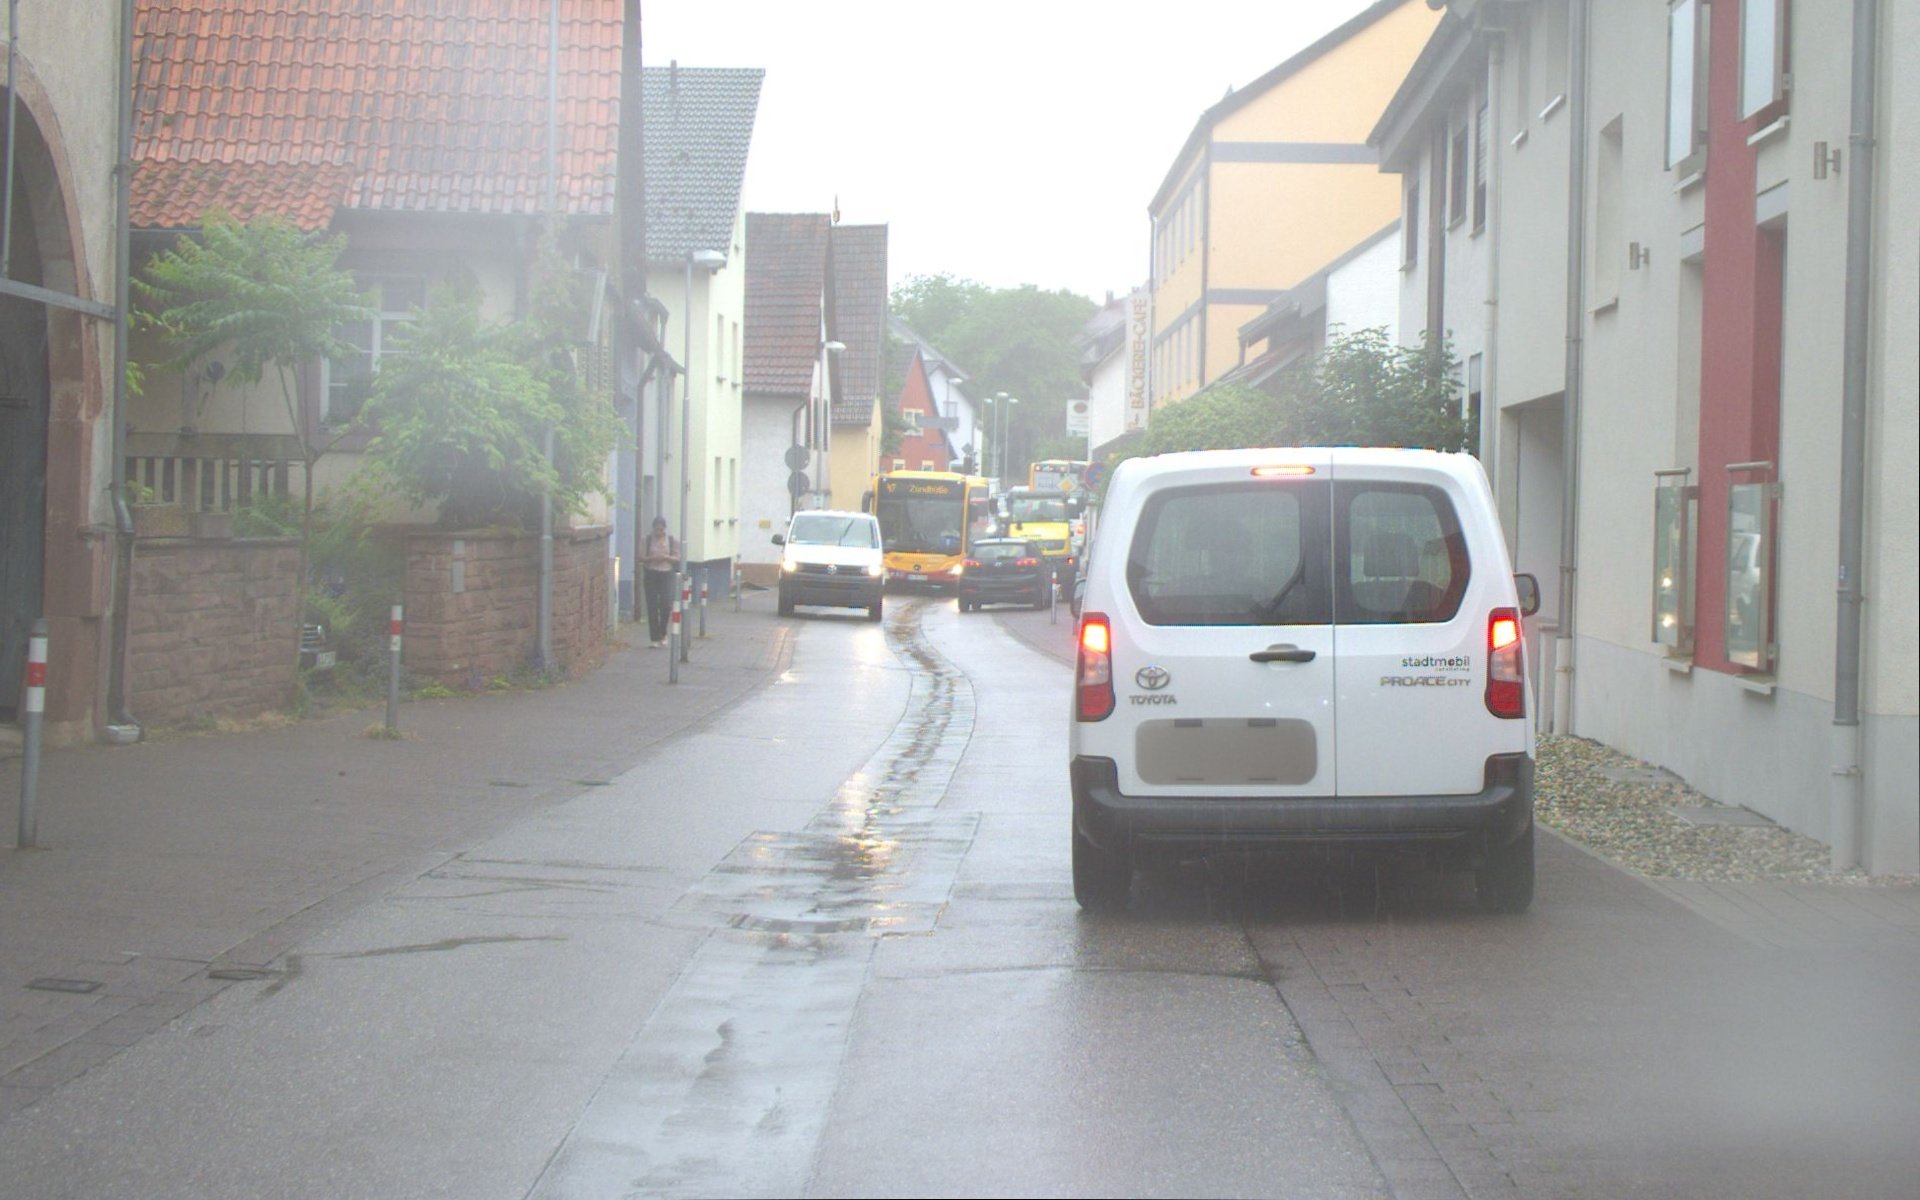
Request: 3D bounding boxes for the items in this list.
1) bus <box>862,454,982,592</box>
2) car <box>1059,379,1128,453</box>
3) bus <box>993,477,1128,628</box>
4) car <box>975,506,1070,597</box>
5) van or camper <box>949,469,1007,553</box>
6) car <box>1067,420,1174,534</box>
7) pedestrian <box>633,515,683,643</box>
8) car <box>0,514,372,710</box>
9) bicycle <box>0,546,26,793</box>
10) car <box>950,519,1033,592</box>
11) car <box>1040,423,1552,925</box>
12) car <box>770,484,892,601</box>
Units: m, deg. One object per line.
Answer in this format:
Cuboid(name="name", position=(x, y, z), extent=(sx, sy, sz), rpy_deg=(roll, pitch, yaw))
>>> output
Cuboid(name="bus", position=(-0.926, -1.990, 90.960), extent=(2.793, 3.317, 8.178), rpy_deg=(3, 1, 1))
Cuboid(name="car", position=(4.070, -5.605, 105.014), extent=(1.994, 2.007, 4.000), rpy_deg=(2, 1, 2))
Cuboid(name="bus", position=(2.267, -1.088, 79.984), extent=(2.793, 3.169, 8.178), rpy_deg=(3, 1, 1))
Cuboid(name="car", position=(1.107, -0.846, 60.473), extent=(1.562, 1.475, 3.585), rpy_deg=(2, 1, 1))
Cuboid(name="van or camper", position=(0.683, -3.238, 126.034), extent=(1.835, 2.915, 5.363), rpy_deg=(2, 1, 2))
Cuboid(name="car", position=(3.054, -2.327, 65.998), extent=(1.827, 2.007, 3.694), rpy_deg=(2, 1, 1))
Cuboid(name="pedestrian", position=(-3.615, -0.258, 41.175), extent=(0.567, 1.525, 0.569), rpy_deg=(0, 1, -8))
Cuboid(name="car", position=(-6.408, 0.059, 26.157), extent=(3.528, 1.371, 1.594), rpy_deg=(1, 1, 3))
Cuboid(name="bicycle", position=(-4.830, 0.331, 15.751), extent=(0.483, 1.176, 1.835), rpy_deg=(2, 1, 3))
Cuboid(name="car", position=(0.656, -0.891, 69.515), extent=(1.562, 1.367, 3.585), rpy_deg=(2, 1, 1))
Cuboid(name="car", position=(1.265, 0.248, 14.520), extent=(1.795, 1.812, 4.101), rpy_deg=(0, 1, 1))
Cuboid(name="car", position=(-2.312, -1.033, 62.611), extent=(1.892, 1.960, 4.723), rpy_deg=(2, 1, 1))
